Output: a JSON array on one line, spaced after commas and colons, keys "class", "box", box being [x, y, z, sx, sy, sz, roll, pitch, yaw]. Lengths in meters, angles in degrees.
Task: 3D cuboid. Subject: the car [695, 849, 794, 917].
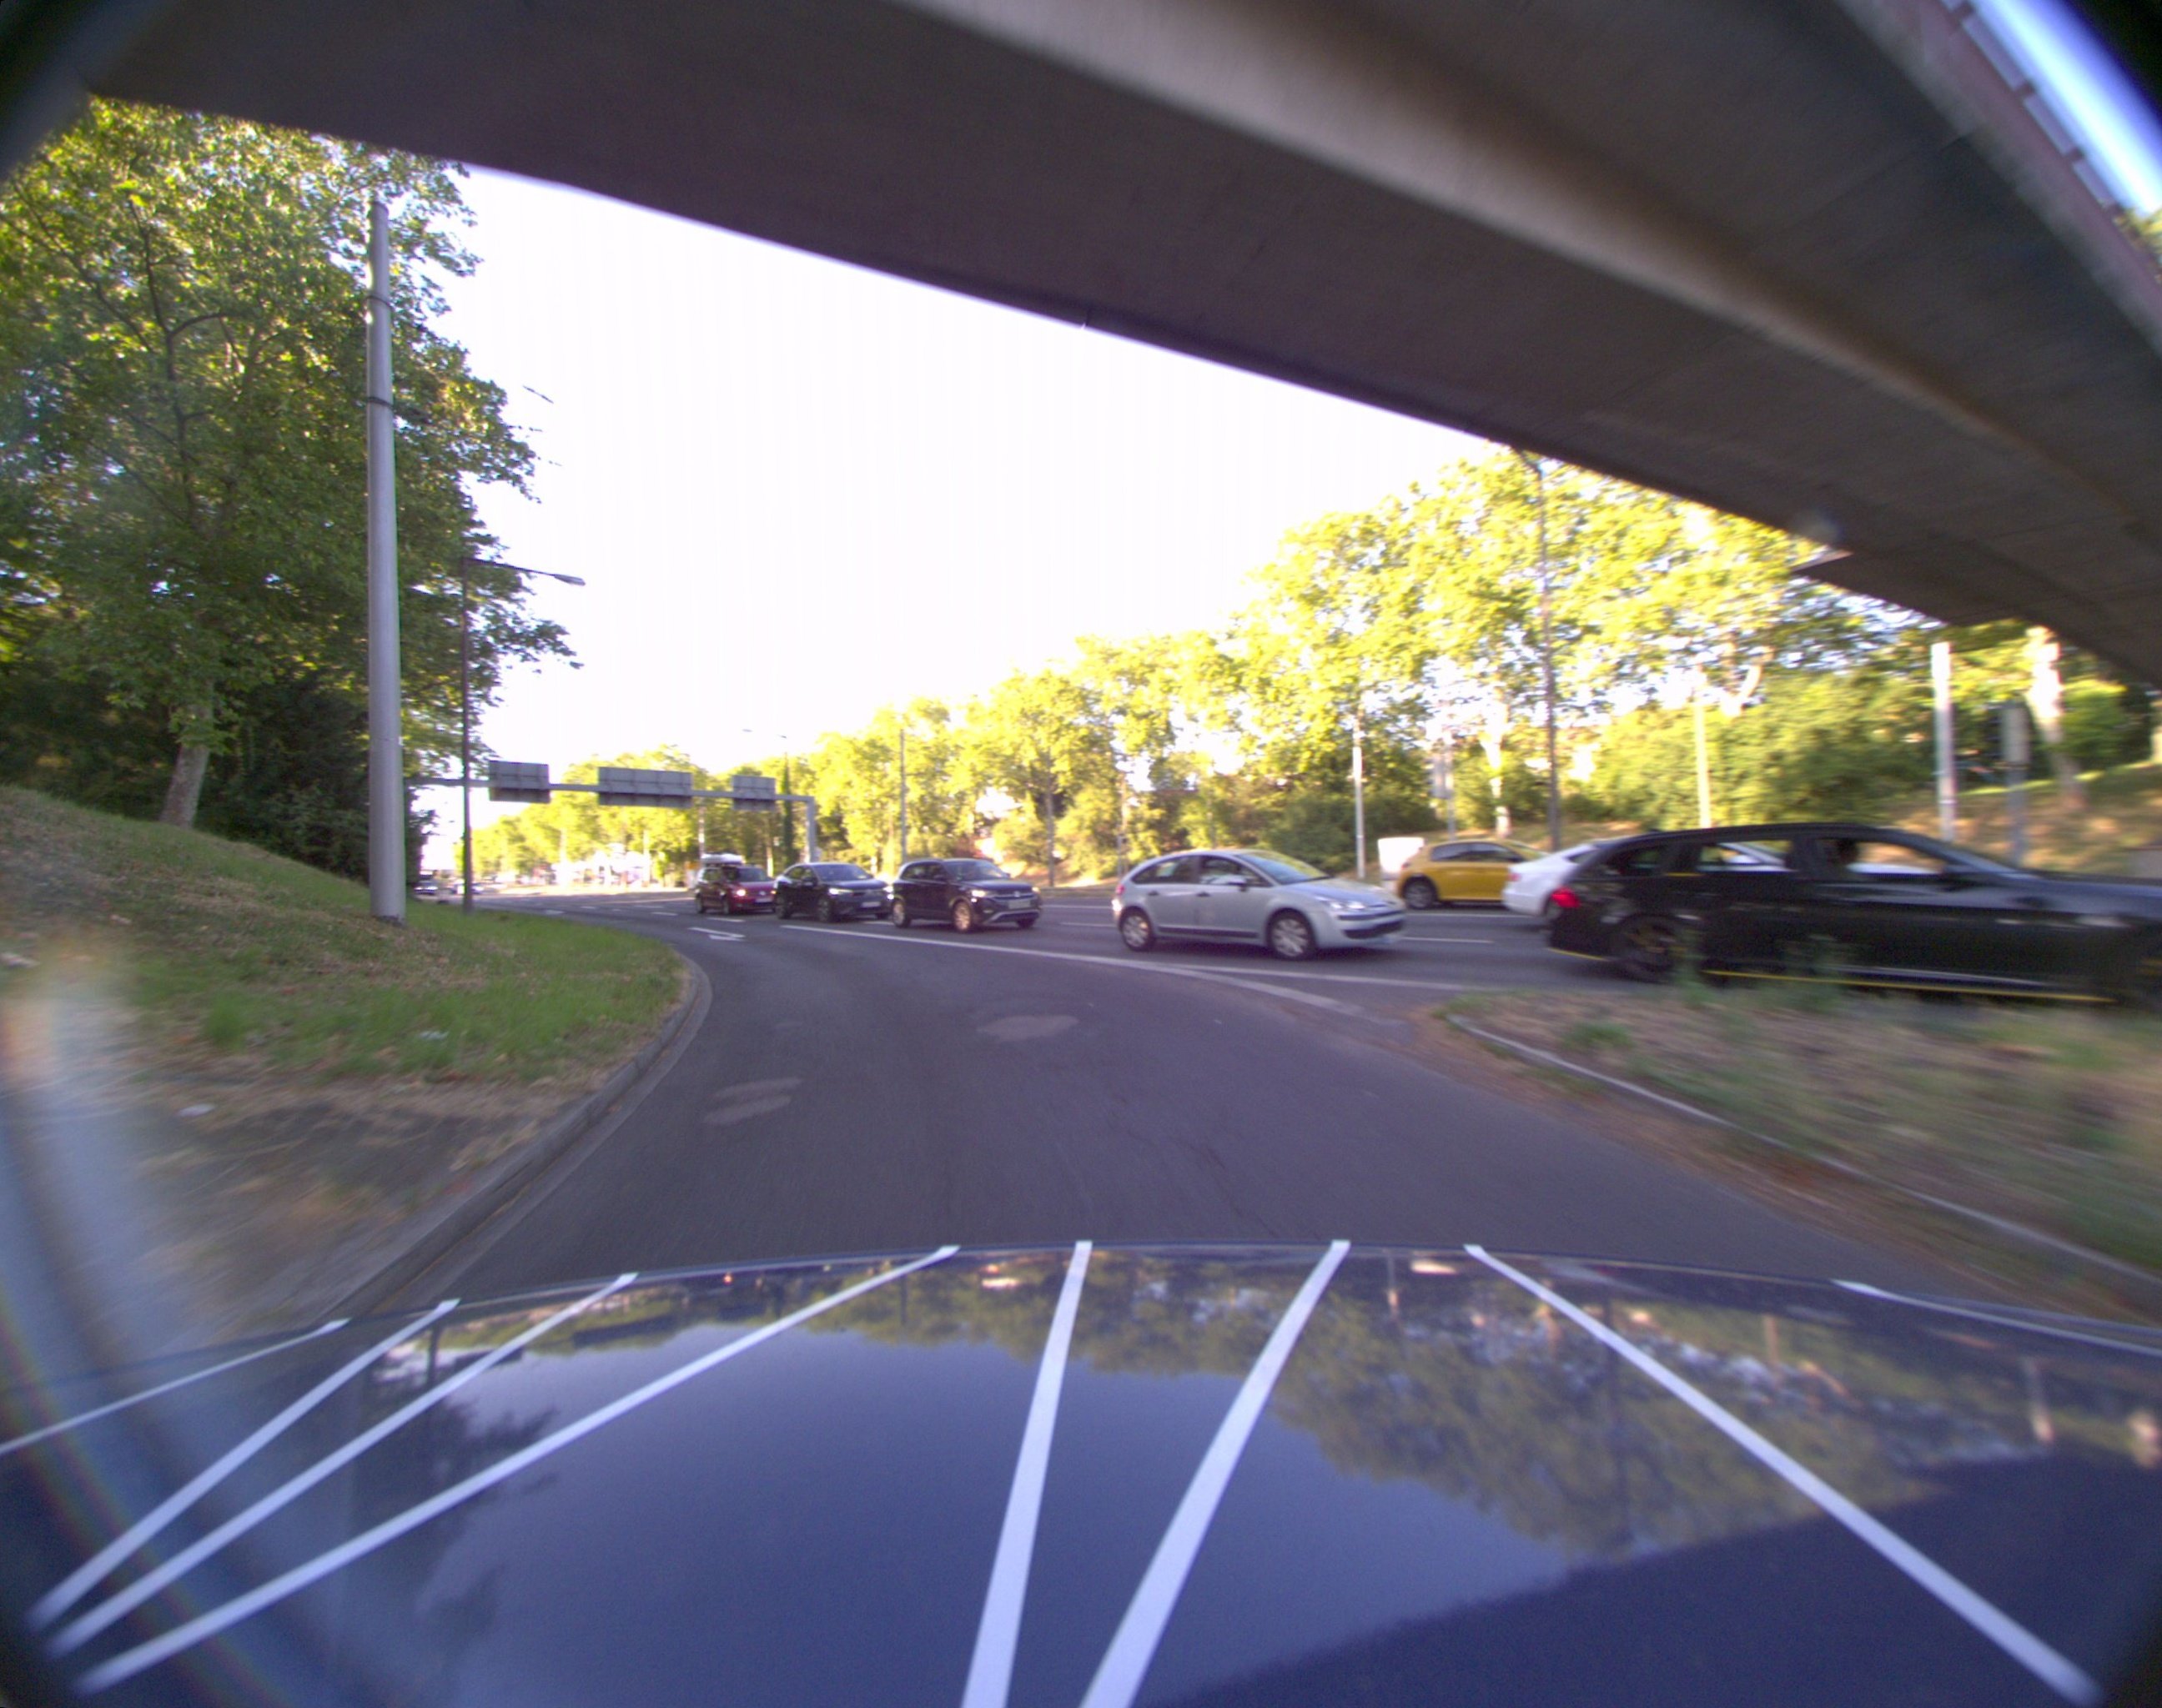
[{"class": "car", "box": [-11.283, 0.980, 25.353, 1.802, 2.092, 3.989, 1, -3, -44]}]

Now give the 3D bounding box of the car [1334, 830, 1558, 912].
[{"class": "car", "box": [7.733, 0.417, 16.362, 1.672, 1.555, 3.989, 1, -3, -43]}]

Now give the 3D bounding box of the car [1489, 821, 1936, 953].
[{"class": "car", "box": [8.261, 0.411, 10.341, 1.751, 1.424, 4.400, -3, 0, -43]}]

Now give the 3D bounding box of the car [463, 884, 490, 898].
[{"class": "car", "box": [-70.375, 4.280, 88.462, 1.879, 1.608, 3.992, 1, -2, -30]}]

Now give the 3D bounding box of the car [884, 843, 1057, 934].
[{"class": "car", "box": [-2.524, 0.759, 16.706, 1.802, 1.739, 3.989, 1, -3, -43]}]

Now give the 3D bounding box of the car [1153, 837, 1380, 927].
[{"class": "car", "box": [3.603, 0.583, 15.339, 1.672, 1.555, 4.179, 1, -3, -43]}]

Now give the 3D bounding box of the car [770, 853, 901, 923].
[{"class": "car", "box": [-6.883, 0.943, 21.066, 1.802, 1.739, 4.230, 1, -3, -43]}]

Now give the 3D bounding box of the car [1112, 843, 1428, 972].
[{"class": "car", "box": [2.495, 0.705, 10.753, 1.802, 1.472, 3.989, 1, -3, -43]}]

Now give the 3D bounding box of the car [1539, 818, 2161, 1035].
[{"class": "car", "box": [6.645, 0.524, 6.362, 1.802, 1.374, 4.464, 1, -3, -43]}]
